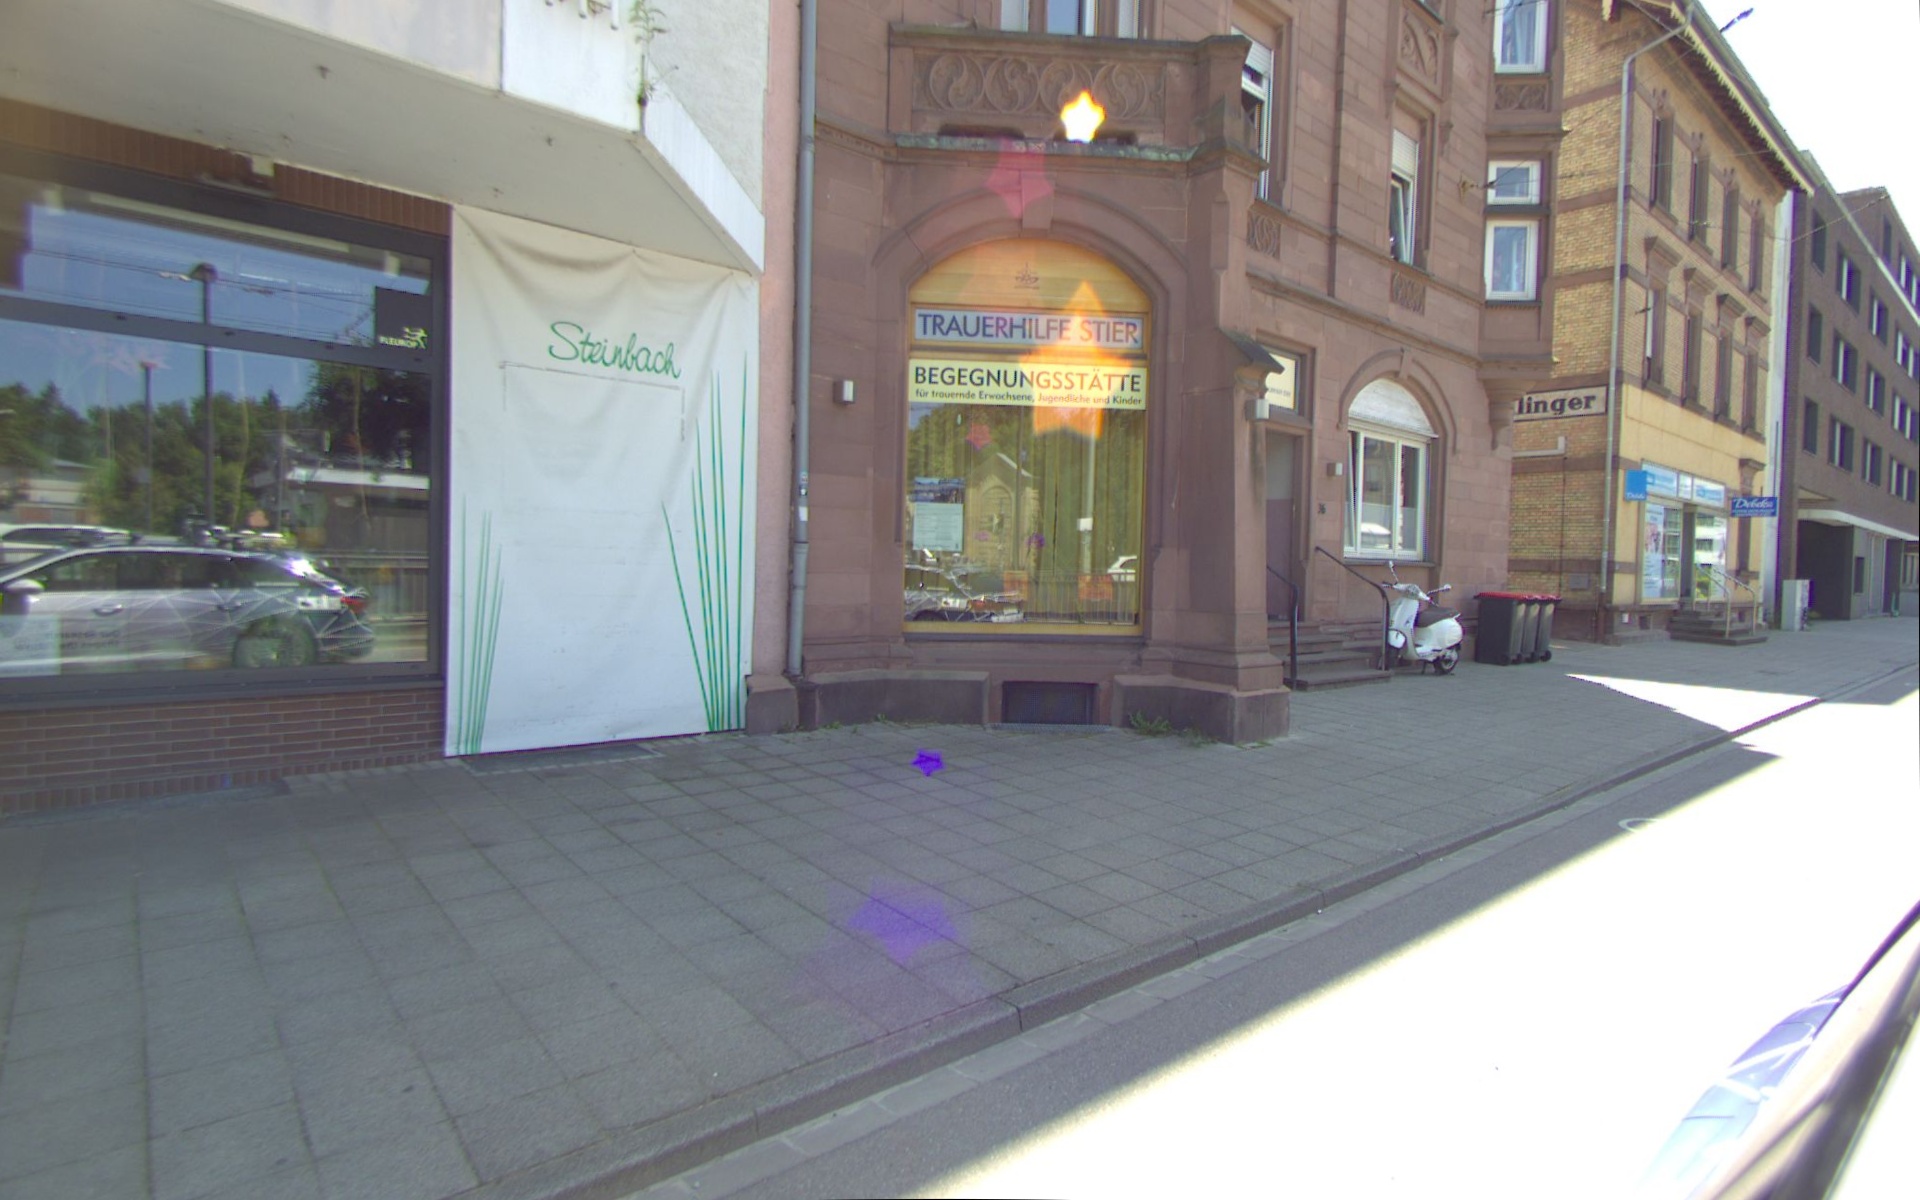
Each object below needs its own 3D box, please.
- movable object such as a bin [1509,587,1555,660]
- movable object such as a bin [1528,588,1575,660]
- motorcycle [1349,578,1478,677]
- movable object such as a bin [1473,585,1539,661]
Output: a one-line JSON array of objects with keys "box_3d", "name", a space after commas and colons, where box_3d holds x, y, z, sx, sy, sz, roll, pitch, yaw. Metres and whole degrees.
[{"box_3d": [8.668, 0.350, 15.337, 0.549, 1.060, 0.376, 0, 4, -41], "name": "movable object such as a bin"}, {"box_3d": [9.182, 0.365, 15.716, 0.646, 1.060, 0.376, 0, 4, -41], "name": "movable object such as a bin"}, {"box_3d": [5.713, 0.316, 12.718, 1.843, 1.163, 0.529, 0, 2, -32], "name": "motorcycle"}, {"box_3d": [8.138, 0.329, 15.088, 0.549, 1.060, 0.649, 0, 4, -41], "name": "movable object such as a bin"}]
